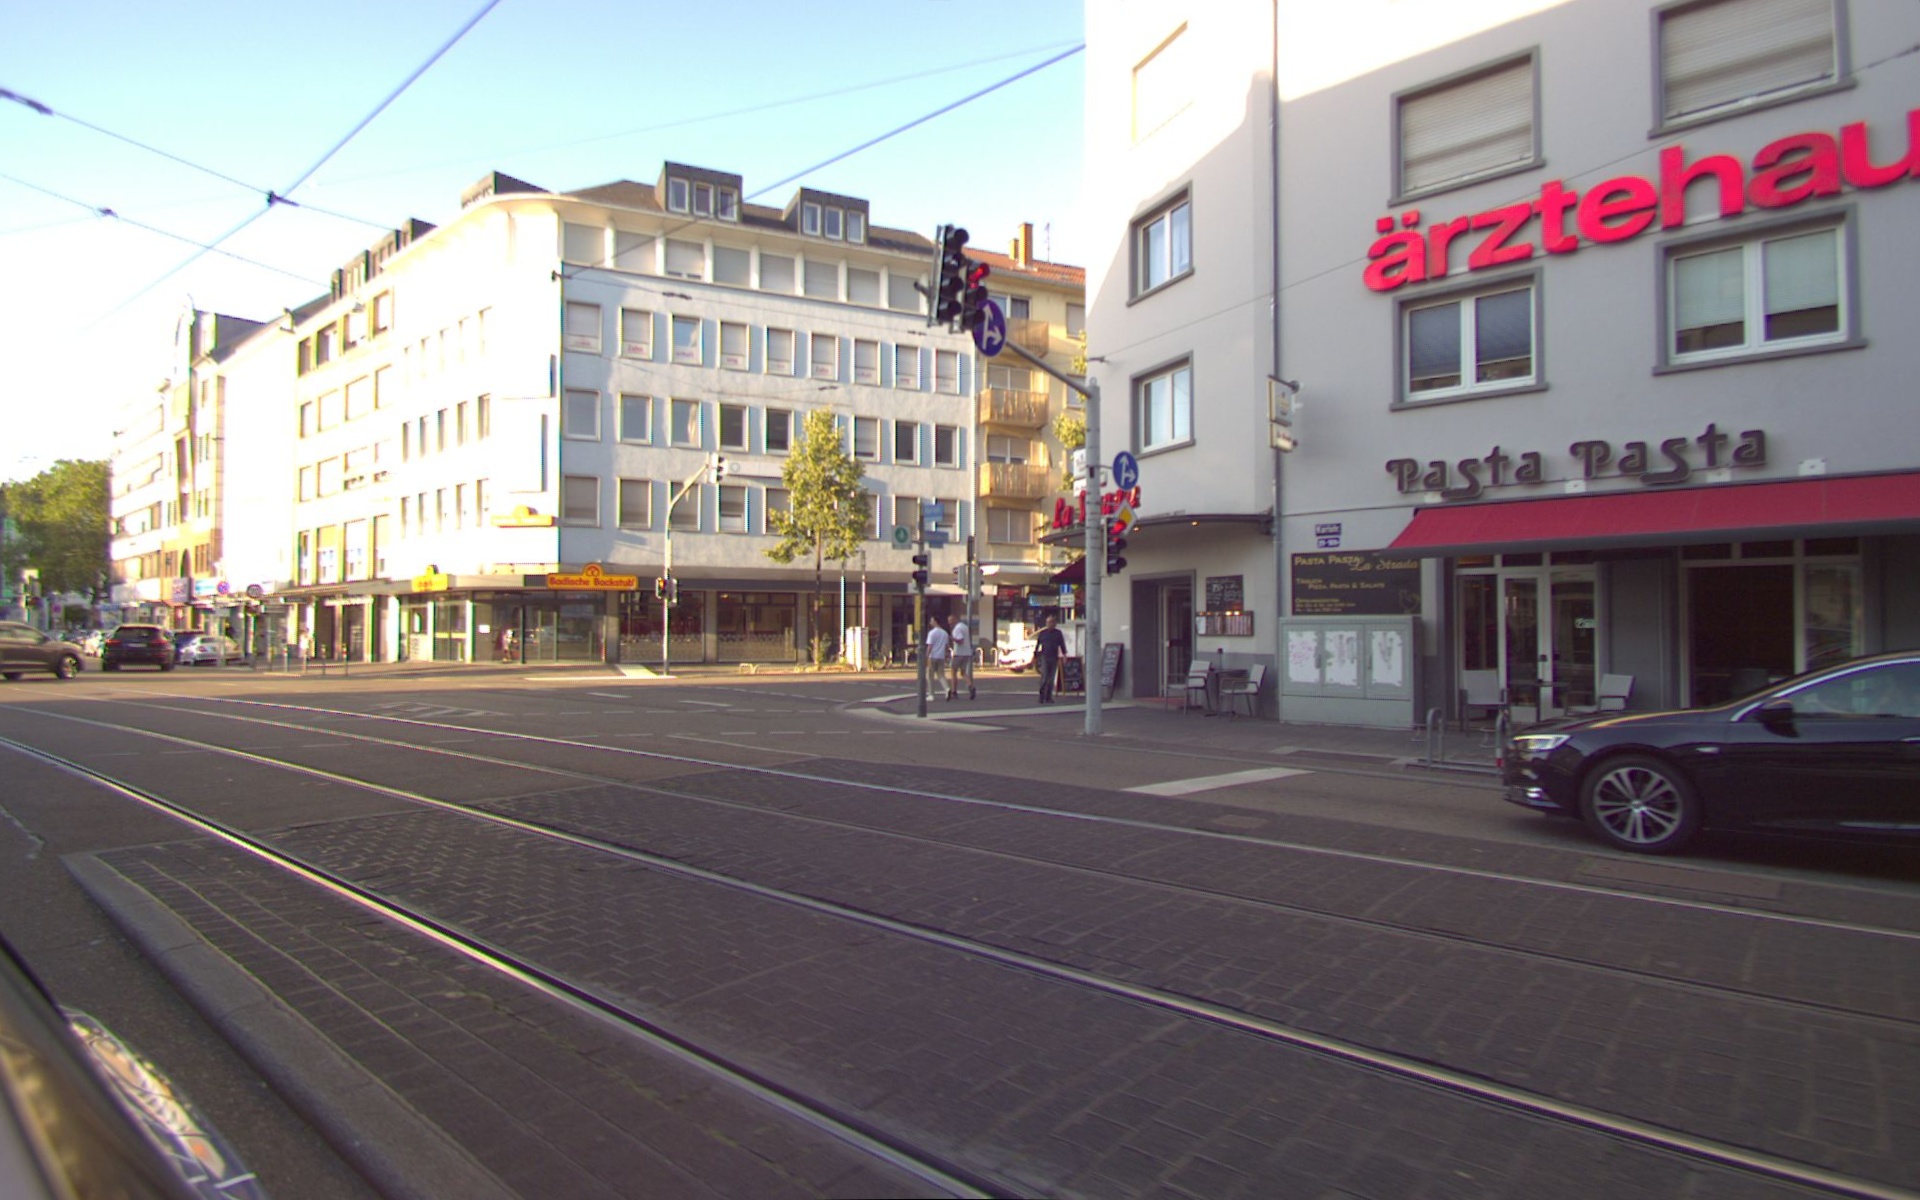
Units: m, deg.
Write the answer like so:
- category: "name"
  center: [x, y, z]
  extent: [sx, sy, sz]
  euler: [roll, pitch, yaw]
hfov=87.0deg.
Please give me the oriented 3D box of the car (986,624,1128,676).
- category: "car"
  center: [3.079, 1.602, 32.184]
  extent: [3.943, 1.568, 2.121]
  euler: [1, -4, -24]

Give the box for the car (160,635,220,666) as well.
- category: "car"
  center: [-36.892, 2.418, 48.472]
  extent: [3.387, 1.364, 1.615]
  euler: [-3, -1, 42]

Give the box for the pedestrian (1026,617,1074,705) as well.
- category: "pedestrian"
  center: [1.760, 1.181, 19.846]
  extent: [0.701, 1.689, 0.705]
  euler: [0, -2, -20]

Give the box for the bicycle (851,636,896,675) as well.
- category: "bicycle"
  center: [-3.107, 1.958, 36.069]
  extent: [0.629, 1.262, 2.382]
  euler: [1, -1, -30]

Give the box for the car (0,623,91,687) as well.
- category: "car"
  center: [-26.639, 1.502, 27.710]
  extent: [1.805, 1.711, 4.253]
  euler: [0, -2, 4]

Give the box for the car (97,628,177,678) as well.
- category: "car"
  center: [-30.258, 1.906, 37.334]
  extent: [1.776, 1.711, 4.581]
  euler: [1, -2, -33]

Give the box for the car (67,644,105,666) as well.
- category: "car"
  center: [-56.346, 3.567, 65.229]
  extent: [3.145, 1.301, 1.441]
  euler: [-3, -1, 42]

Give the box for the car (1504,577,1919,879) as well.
- category: "car"
  center: [6.350, 0.783, 6.464]
  extent: [4.727, 1.741, 1.972]
  euler: [-2, -4, 42]

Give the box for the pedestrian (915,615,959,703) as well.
- category: "pedestrian"
  center: [-0.462, 1.184, 20.539]
  extent: [0.627, 1.758, 0.670]
  euler: [1, -2, -33]

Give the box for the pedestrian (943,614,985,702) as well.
- category: "pedestrian"
  center: [0.082, 1.185, 20.901]
  extent: [0.627, 1.792, 0.602]
  euler: [1, -2, -30]

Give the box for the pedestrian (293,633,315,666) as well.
- category: "pedestrian"
  center: [-30.494, 2.283, 47.056]
  extent: [0.621, 1.483, 0.539]
  euler: [-3, 0, 25]

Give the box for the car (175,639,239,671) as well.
- category: "car"
  center: [-33.658, 2.452, 45.230]
  extent: [3.387, 1.263, 1.615]
  euler: [-3, -1, 42]
